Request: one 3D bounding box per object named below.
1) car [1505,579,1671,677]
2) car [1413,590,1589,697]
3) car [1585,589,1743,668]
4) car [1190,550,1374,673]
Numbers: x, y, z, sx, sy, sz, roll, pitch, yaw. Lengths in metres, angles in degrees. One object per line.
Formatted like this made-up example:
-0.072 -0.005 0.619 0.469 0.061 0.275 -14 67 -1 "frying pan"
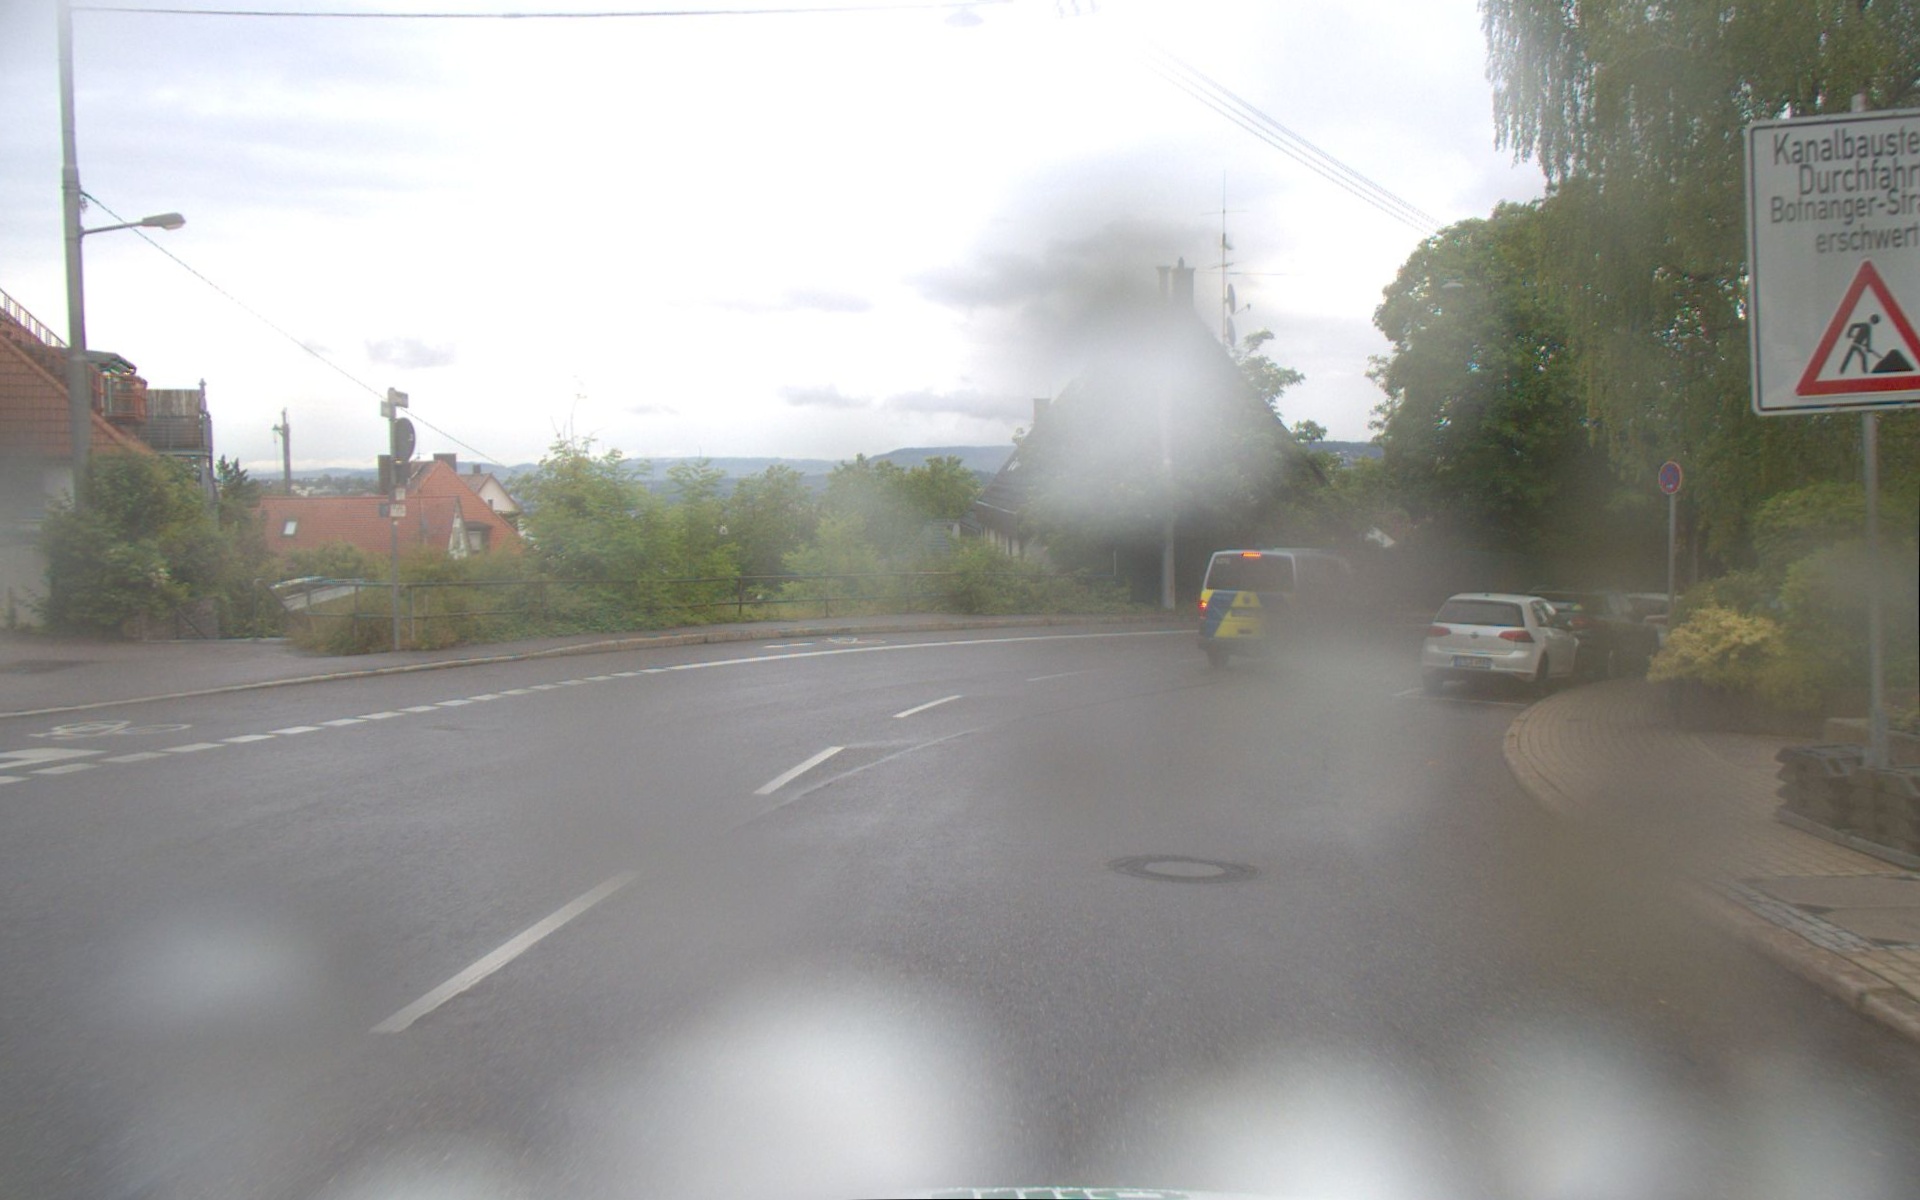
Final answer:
11.304 0.434 29.620 1.598 1.545 4.308 1 2 38 "car"
8.387 0.590 25.431 1.757 1.471 4.097 1 1 30 "car"
14.319 0.534 33.541 1.702 1.490 4.005 1 1 43 "car"
5.618 0.152 28.386 1.955 1.926 4.565 1 1 27 "car"
